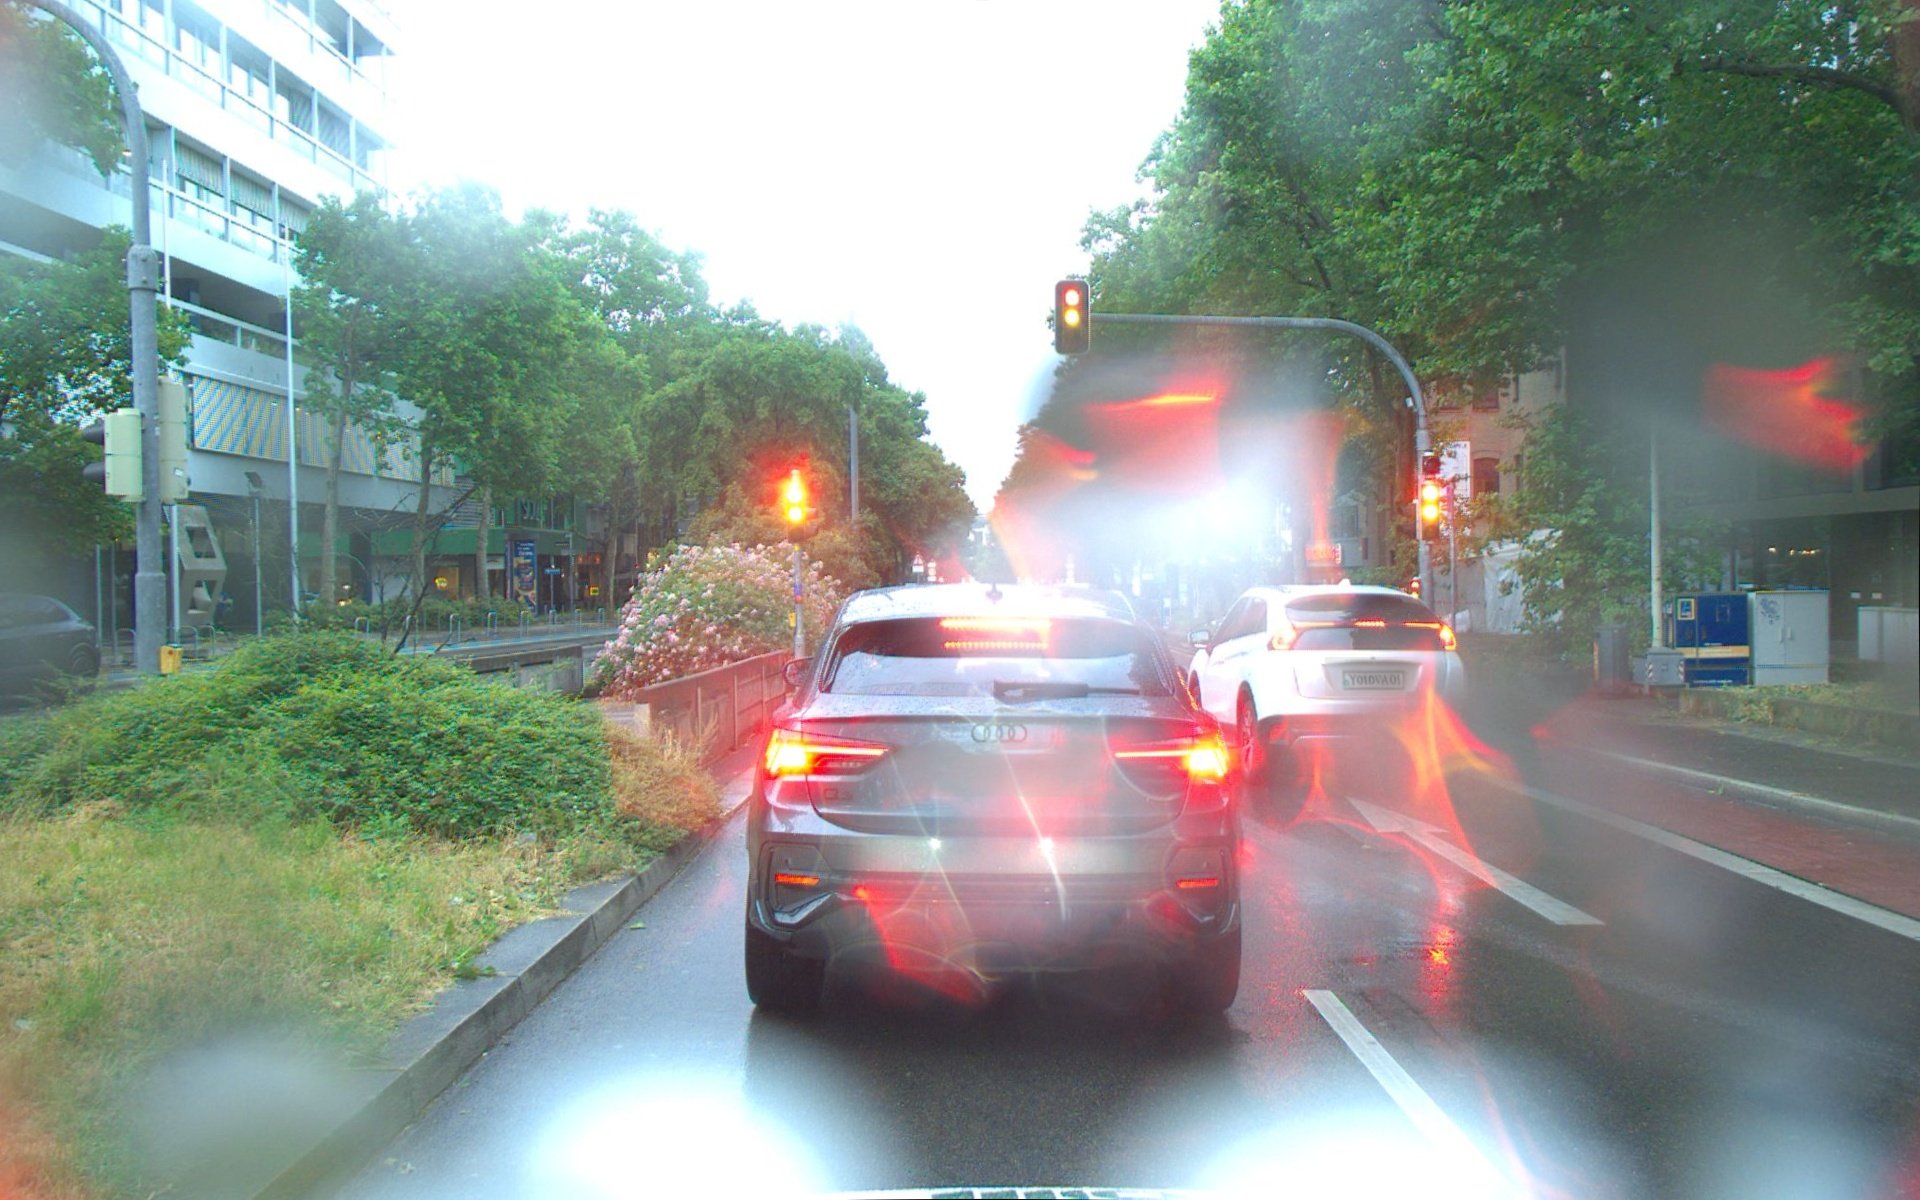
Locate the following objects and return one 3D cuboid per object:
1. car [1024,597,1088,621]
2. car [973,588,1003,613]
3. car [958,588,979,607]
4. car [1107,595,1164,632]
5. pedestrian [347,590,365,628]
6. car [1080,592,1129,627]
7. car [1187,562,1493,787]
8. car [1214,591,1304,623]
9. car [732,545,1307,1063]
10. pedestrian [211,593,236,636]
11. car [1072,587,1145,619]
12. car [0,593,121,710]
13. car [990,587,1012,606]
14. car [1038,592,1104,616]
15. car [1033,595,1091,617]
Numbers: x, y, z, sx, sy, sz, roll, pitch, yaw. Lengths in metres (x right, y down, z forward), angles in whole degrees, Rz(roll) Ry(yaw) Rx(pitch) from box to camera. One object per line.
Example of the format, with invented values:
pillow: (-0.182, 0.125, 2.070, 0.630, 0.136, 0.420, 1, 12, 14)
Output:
car: (7.402, 0.707, 127.807, 4.549, 1.736, 1.997, 1, -1, 28)
car: (1.969, 0.051, 117.315, 1.953, 1.757, 3.999, 1, -1, -1)
car: (0.755, -0.249, 148.149, 1.857, 1.627, 3.938, 1, 0, -1)
car: (7.237, 0.557, 68.502, 1.835, 1.446, 4.611, 1, 0, 0)
pedestrian: (-24.470, 0.367, 67.018, 0.599, 1.508, 0.573, 1, -1, -12)
car: (6.913, 0.457, 79.438, 1.693, 1.599, 4.070, 1, 0, -4)
car: (3.261, 0.600, 14.982, 1.839, 1.727, 4.000, 1, -1, 0)
car: (10.613, 0.256, 58.672, 2.831, 1.093, 1.452, 1, -1, 31)
car: (0.162, 0.642, 7.222, 1.812, 1.630, 3.999, 0, 0, -1)
pedestrian: (-24.399, 0.490, 54.771, 0.626, 1.404, 0.473, 1, -1, -12)
car: (9.782, 0.197, 109.215, 4.519, 2.049, 1.959, 1, -1, 39)
car: (-14.024, 0.693, 23.153, 1.869, 1.612, 4.748, 1, 0, 4)
car: (3.726, -0.288, 151.137, 1.952, 1.680, 4.000, 1, 0, 0)
car: (8.288, 0.291, 123.440, 4.549, 1.736, 1.997, 1, -1, 28)
car: (8.693, 0.514, 140.710, 4.549, 1.736, 1.997, 1, -1, 28)
